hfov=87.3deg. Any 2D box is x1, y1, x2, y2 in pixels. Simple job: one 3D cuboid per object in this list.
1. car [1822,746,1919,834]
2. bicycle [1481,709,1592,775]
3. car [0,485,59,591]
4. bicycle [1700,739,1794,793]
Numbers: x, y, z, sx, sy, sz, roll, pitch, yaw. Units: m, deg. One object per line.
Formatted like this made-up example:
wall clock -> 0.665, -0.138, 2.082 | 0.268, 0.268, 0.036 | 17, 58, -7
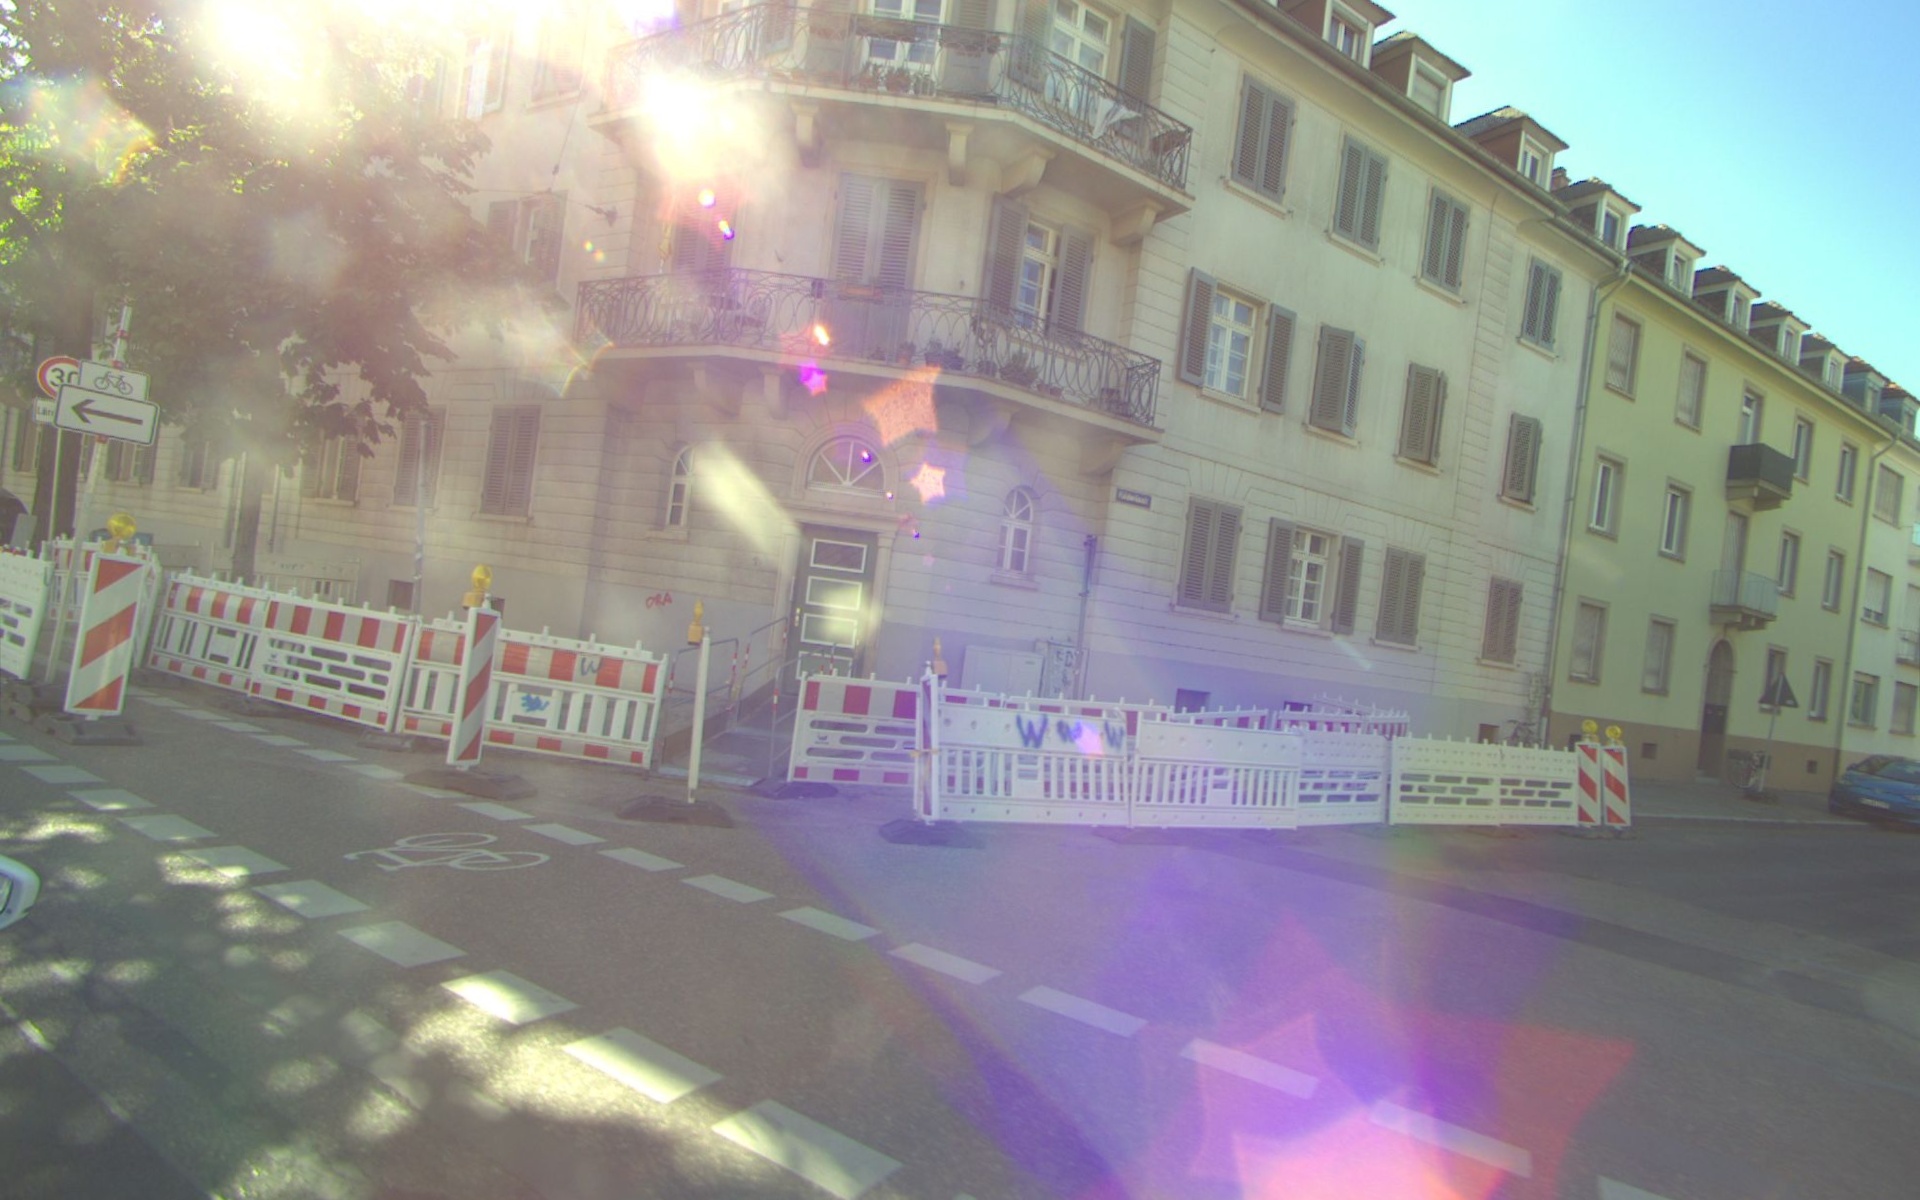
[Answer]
car -> 21.956, 4.430, 23.425 | 3.836, 1.565, 1.826 | 8, 1, -35
bicycle -> 12.225, 3.022, 21.268 | 3.082, 1.127, 0.521 | 9, 2, -33
car -> -17.464, -1.248, 17.226 | 4.508, 1.647, 1.811 | 7, 1, 32
bicycle -> 20.856, 4.412, 26.613 | 3.964, 1.170, 0.759 | 9, -1, -35
